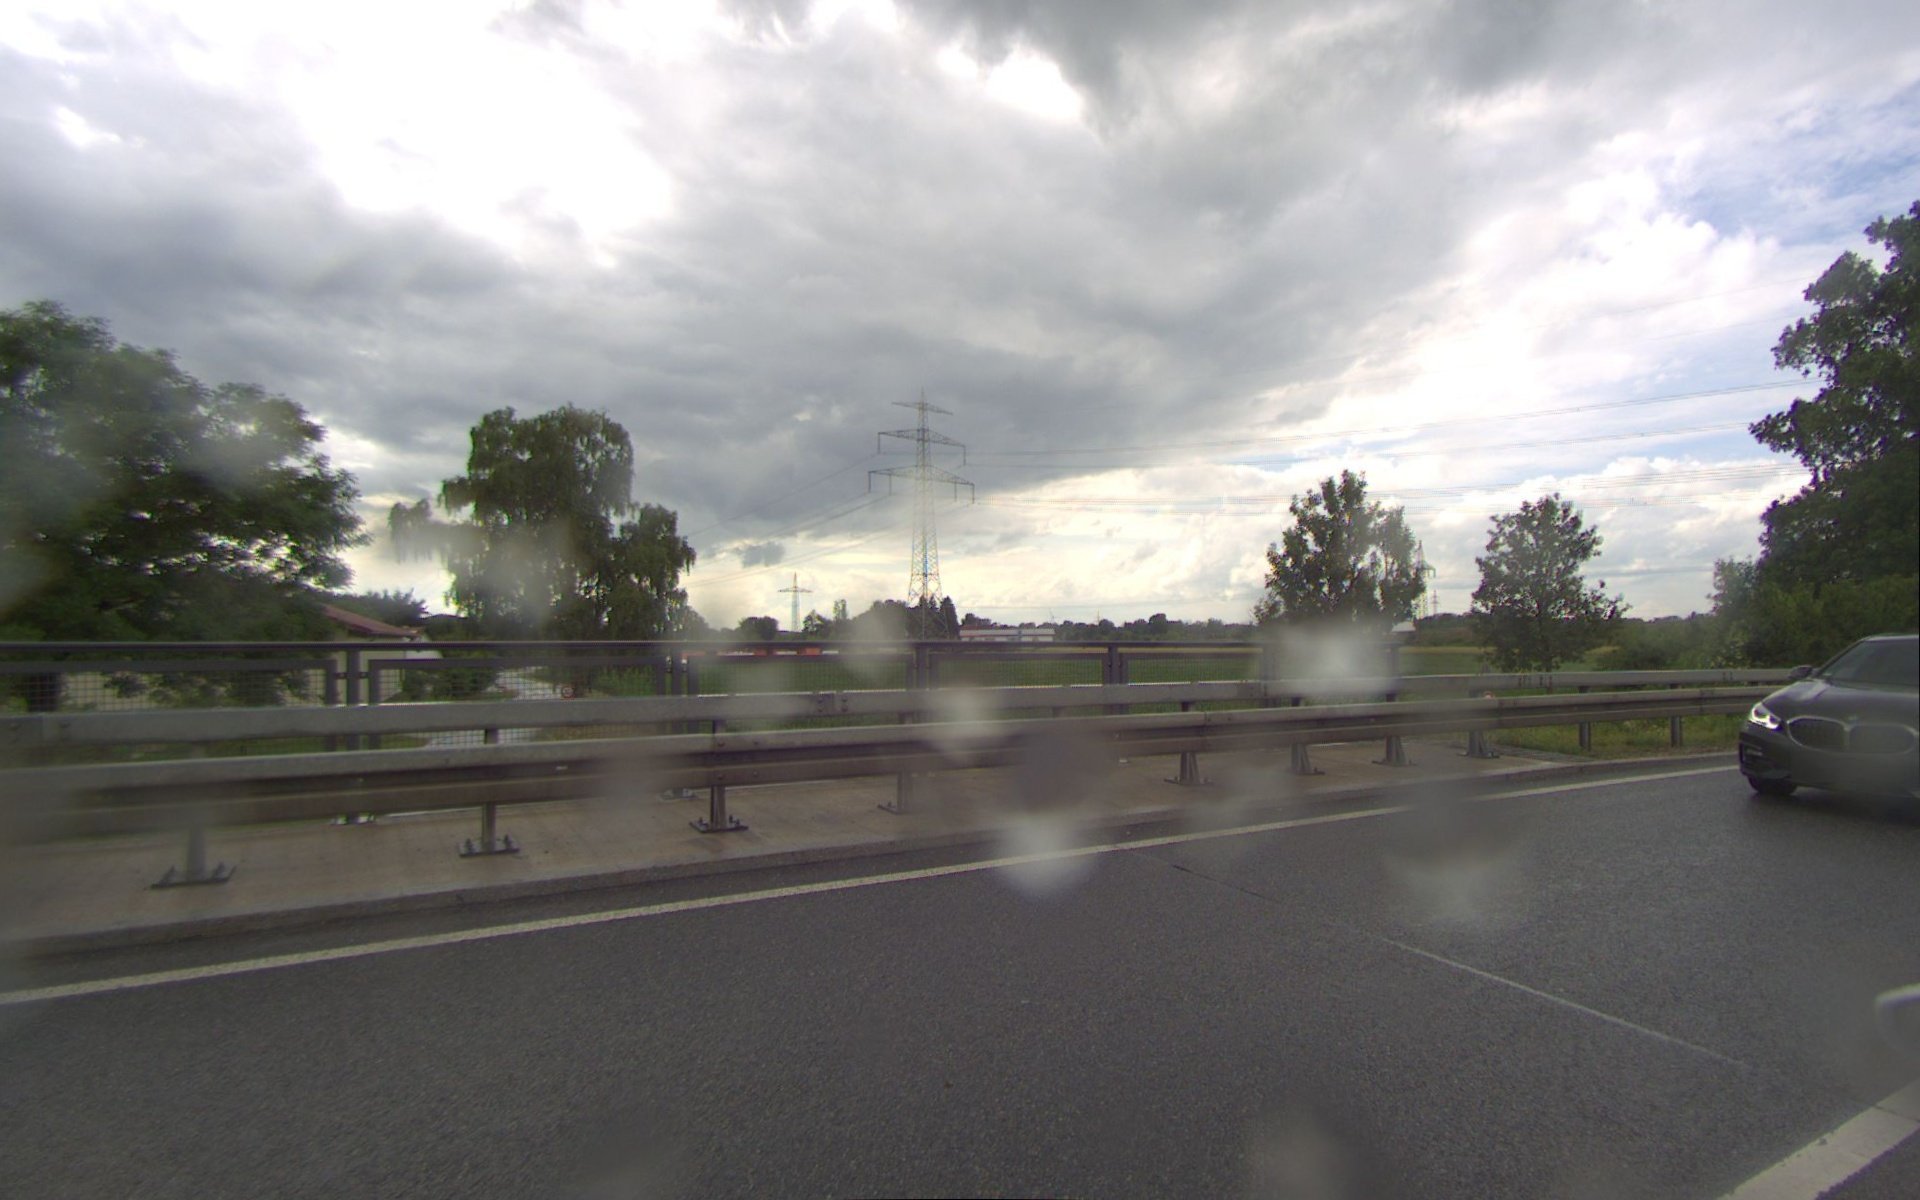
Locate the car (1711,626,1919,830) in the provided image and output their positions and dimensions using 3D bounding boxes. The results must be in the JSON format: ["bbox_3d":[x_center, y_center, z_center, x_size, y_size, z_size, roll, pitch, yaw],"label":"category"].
[{"bbox_3d":[8.469,0.991,8.626,4.280,1.418,1.688,2,-1,-30],"label":"car"}]
